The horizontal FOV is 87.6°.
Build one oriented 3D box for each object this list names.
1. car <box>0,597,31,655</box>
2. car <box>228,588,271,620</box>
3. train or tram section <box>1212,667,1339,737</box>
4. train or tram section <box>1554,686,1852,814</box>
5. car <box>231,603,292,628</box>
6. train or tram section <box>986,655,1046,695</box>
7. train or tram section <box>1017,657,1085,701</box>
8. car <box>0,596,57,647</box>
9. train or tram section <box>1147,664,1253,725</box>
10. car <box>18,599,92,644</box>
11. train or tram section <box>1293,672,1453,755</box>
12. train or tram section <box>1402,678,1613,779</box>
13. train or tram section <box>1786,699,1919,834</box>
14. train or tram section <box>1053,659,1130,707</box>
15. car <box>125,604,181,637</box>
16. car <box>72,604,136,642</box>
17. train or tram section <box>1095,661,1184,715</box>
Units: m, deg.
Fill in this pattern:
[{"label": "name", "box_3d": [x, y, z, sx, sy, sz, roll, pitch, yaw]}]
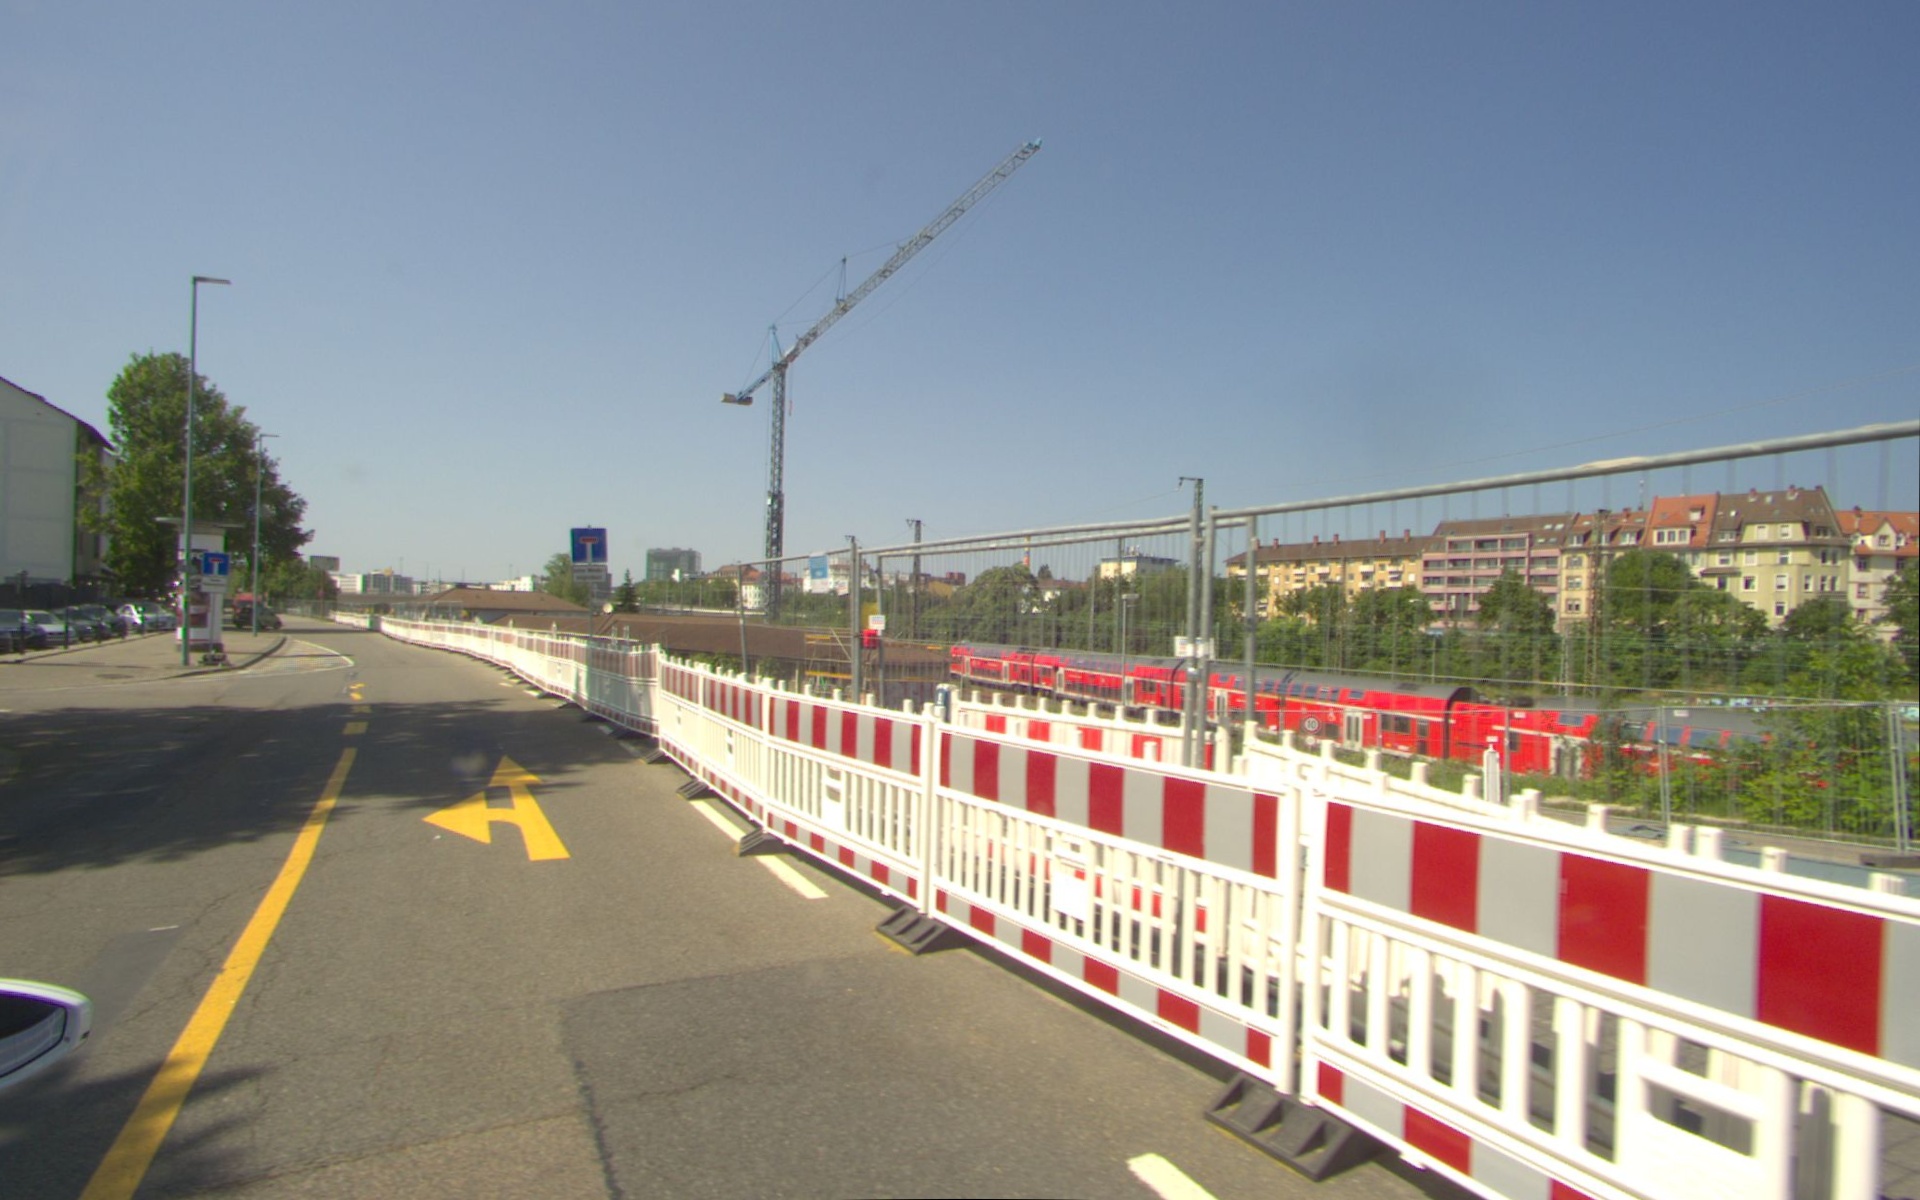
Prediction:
[{"label": "car", "box_3d": [-29.300, 0.730, 30.029, 3.957, 1.650, 1.847, 0, -2, 44]}, {"label": "car", "box_3d": [-59.945, 0.380, 84.610, 2.512, 2.551, 5.089, 3, -3, -32]}, {"label": "train or tram section", "box_3d": [19.744, 6.315, 63.413, 2.973, 3.748, 8.959, 4, -3, -17]}, {"label": "train or tram section", "box_3d": [27.536, 5.426, 37.847, 2.973, 3.759, 8.959, 4, -3, -17]}, {"label": "car", "box_3d": [-51.335, 1.153, 73.646, 1.695, 1.658, 3.279, 1, -2, 17]}, {"label": "train or tram section", "box_3d": [5.832, 7.892, 105.964, 2.974, 3.748, 8.954, 5, -3, -19]}, {"label": "train or tram section", "box_3d": [8.749, 7.597, 97.451, 2.974, 3.748, 8.956, 4, -3, -19]}, {"label": "car", "box_3d": [-32.641, 0.720, 34.559, 3.957, 1.650, 1.847, 0, -2, 44]}, {"label": "train or tram section", "box_3d": [17.057, 6.674, 71.937, 2.973, 3.748, 8.957, 4, -3, -18]}, {"label": "car", "box_3d": [-35.554, 0.845, 39.307, 3.957, 1.650, 1.847, 0, -2, 44]}, {"label": "train or tram section", "box_3d": [22.342, 6.061, 54.883, 2.973, 3.748, 8.959, 4, -3, -17]}, {"label": "train or tram section", "box_3d": [24.958, 5.745, 46.356, 2.973, 3.757, 8.959, 4, -3, -17]}, {"label": "train or tram section", "box_3d": [30.159, 5.127, 29.366, 2.973, 3.746, 8.959, 4, -3, -17]}, {"label": "train or tram section", "box_3d": [11.531, 7.281, 88.955, 2.973, 3.748, 8.957, 4, -3, -18]}, {"label": "car", "box_3d": [-43.492, 1.086, 53.944, 3.957, 1.650, 1.847, 0, -2, 44]}, {"label": "car", "box_3d": [-39.946, 1.044, 46.701, 3.957, 1.650, 1.847, 0, -2, 44]}, {"label": "train or tram section", "box_3d": [14.288, 6.997, 80.444, 2.973, 3.748, 8.957, 4, -3, -18]}]
